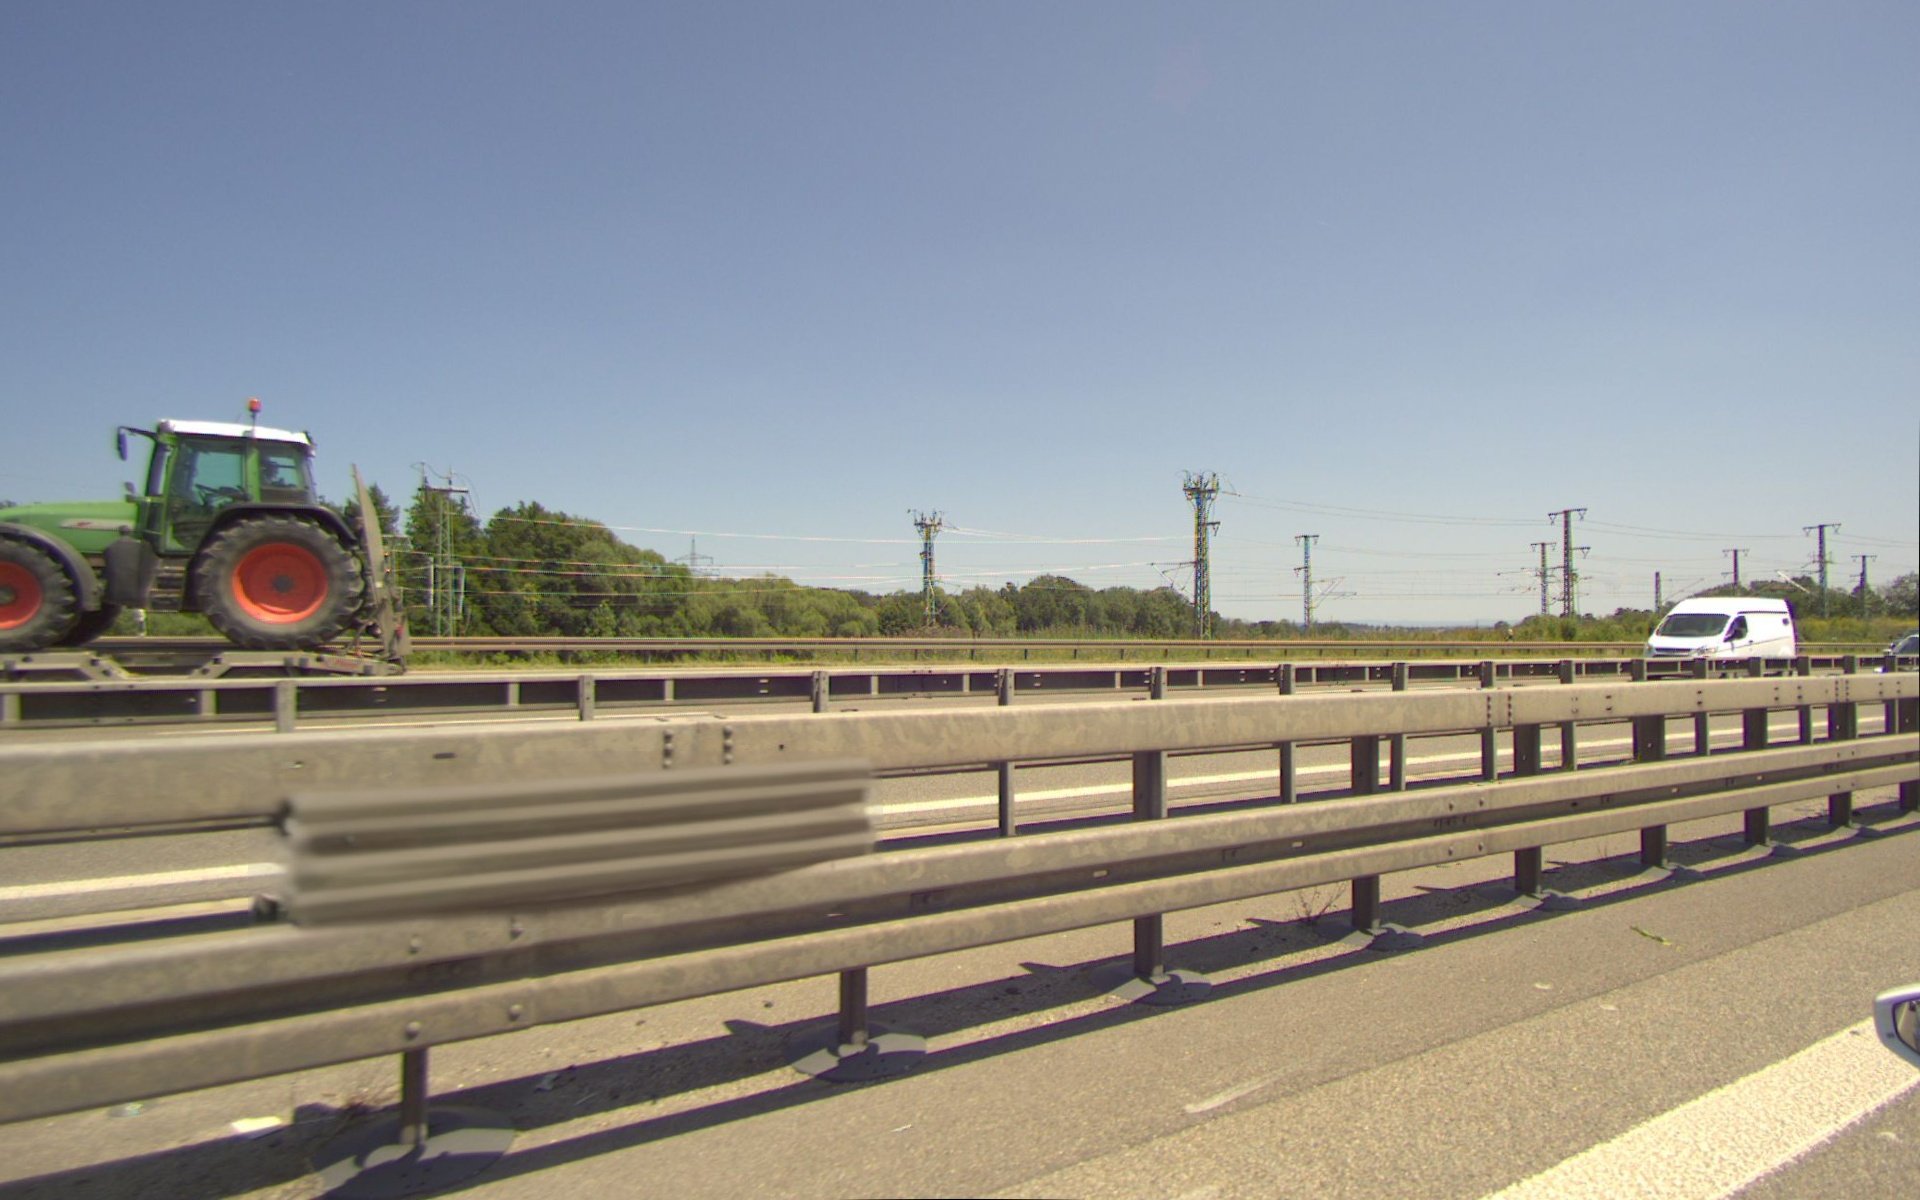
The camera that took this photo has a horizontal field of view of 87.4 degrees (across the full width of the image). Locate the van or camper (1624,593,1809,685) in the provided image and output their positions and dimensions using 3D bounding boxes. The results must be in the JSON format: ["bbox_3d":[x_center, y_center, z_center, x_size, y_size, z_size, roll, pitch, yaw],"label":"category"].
[{"bbox_3d":[20.950,1.049,27.745,5.824,2.330,1.984,1,-1,-30],"label":"van or camper"}]

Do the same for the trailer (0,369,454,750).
[{"bbox_3d":[-12.388,-0.502,12.028,11.071,4.301,2.746,3,-1,-30],"label":"trailer"}]

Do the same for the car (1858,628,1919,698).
[{"bbox_3d":[22.661,1.431,23.142,4.385,1.484,1.691,1,-1,-30],"label":"car"}]

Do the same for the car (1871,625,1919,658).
[{"bbox_3d":[41.862,1.796,43.953,4.330,1.365,1.757,1,-1,-30],"label":"car"}]

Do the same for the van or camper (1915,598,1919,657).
[{"bbox_3d":[48.461,1.357,47.606,7.969,2.700,2.505,1,-1,-30],"label":"van or camper"}]
